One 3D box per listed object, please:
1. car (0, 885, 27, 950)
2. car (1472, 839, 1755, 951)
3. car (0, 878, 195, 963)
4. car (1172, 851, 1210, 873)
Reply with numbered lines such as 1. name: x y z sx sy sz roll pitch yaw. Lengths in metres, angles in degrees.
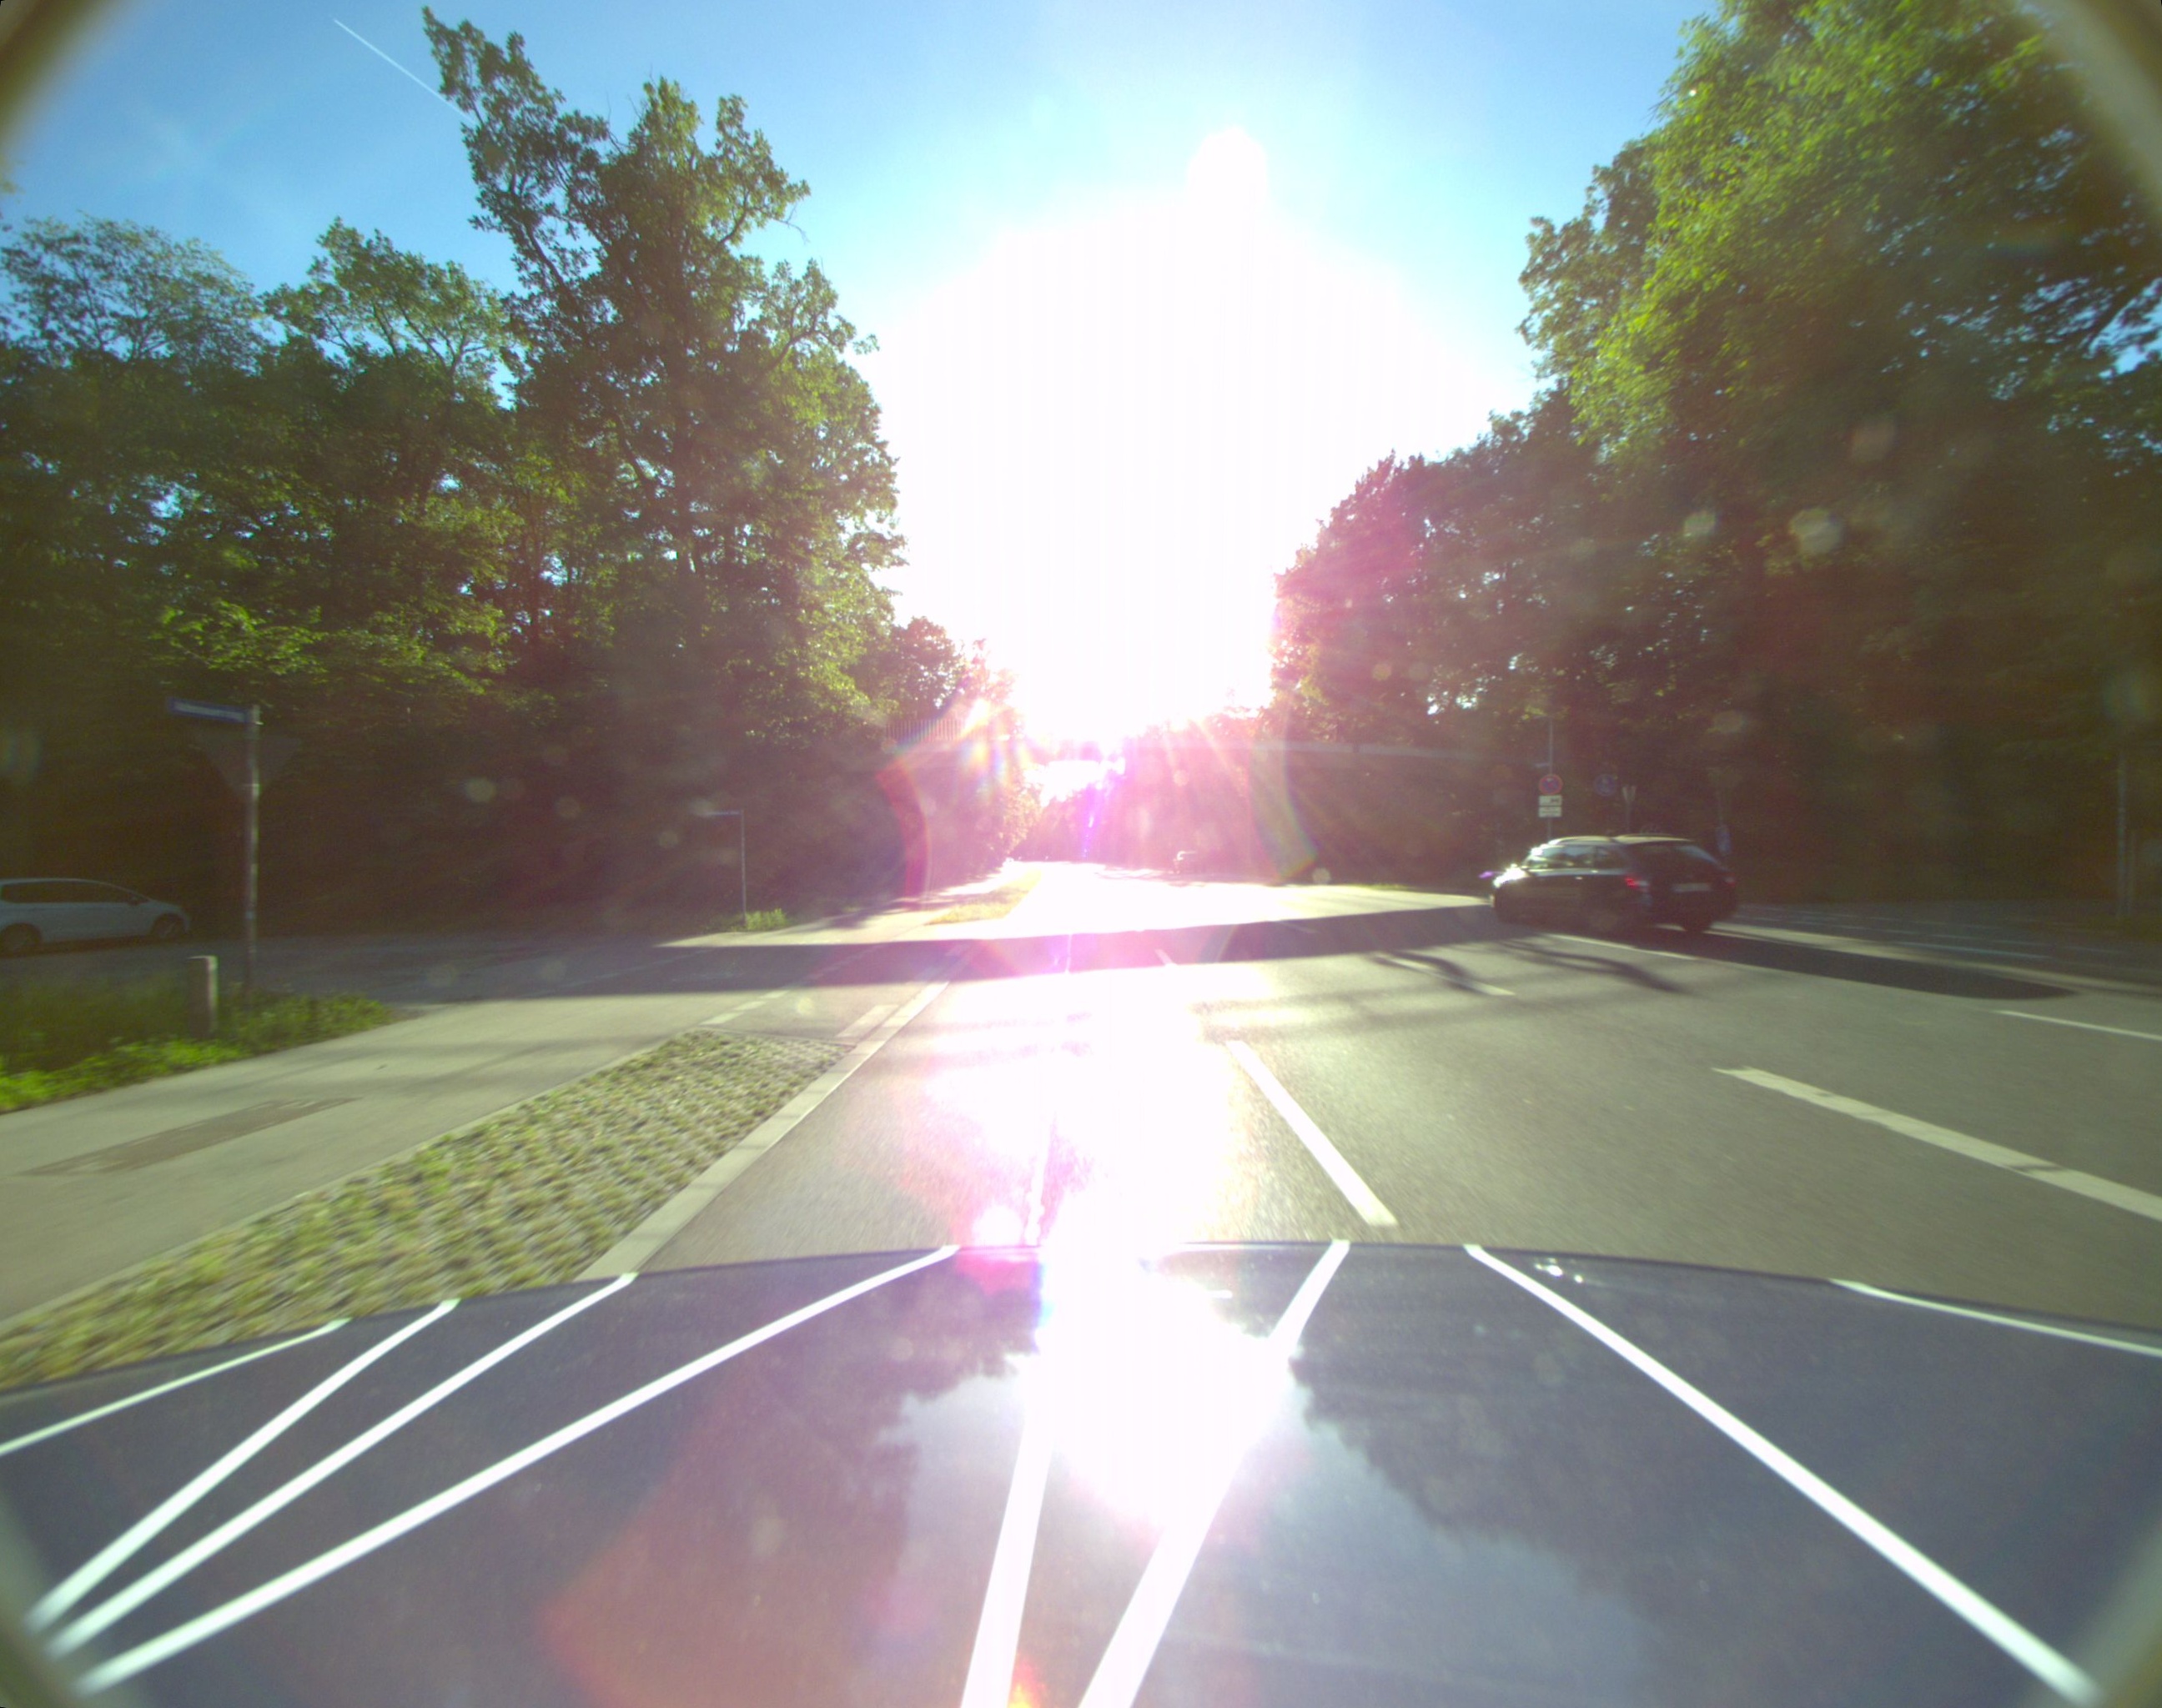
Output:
1. car: -25.264 1.469 15.602 1.774 1.452 3.998 -1 0 -5
2. car: 8.298 0.550 12.400 1.517 1.457 4.313 -2 0 -1
3. car: -21.786 1.366 15.979 1.741 1.516 3.998 -2 0 -4
4. car: 7.874 0.554 54.732 1.847 1.539 3.999 -1 0 -3
